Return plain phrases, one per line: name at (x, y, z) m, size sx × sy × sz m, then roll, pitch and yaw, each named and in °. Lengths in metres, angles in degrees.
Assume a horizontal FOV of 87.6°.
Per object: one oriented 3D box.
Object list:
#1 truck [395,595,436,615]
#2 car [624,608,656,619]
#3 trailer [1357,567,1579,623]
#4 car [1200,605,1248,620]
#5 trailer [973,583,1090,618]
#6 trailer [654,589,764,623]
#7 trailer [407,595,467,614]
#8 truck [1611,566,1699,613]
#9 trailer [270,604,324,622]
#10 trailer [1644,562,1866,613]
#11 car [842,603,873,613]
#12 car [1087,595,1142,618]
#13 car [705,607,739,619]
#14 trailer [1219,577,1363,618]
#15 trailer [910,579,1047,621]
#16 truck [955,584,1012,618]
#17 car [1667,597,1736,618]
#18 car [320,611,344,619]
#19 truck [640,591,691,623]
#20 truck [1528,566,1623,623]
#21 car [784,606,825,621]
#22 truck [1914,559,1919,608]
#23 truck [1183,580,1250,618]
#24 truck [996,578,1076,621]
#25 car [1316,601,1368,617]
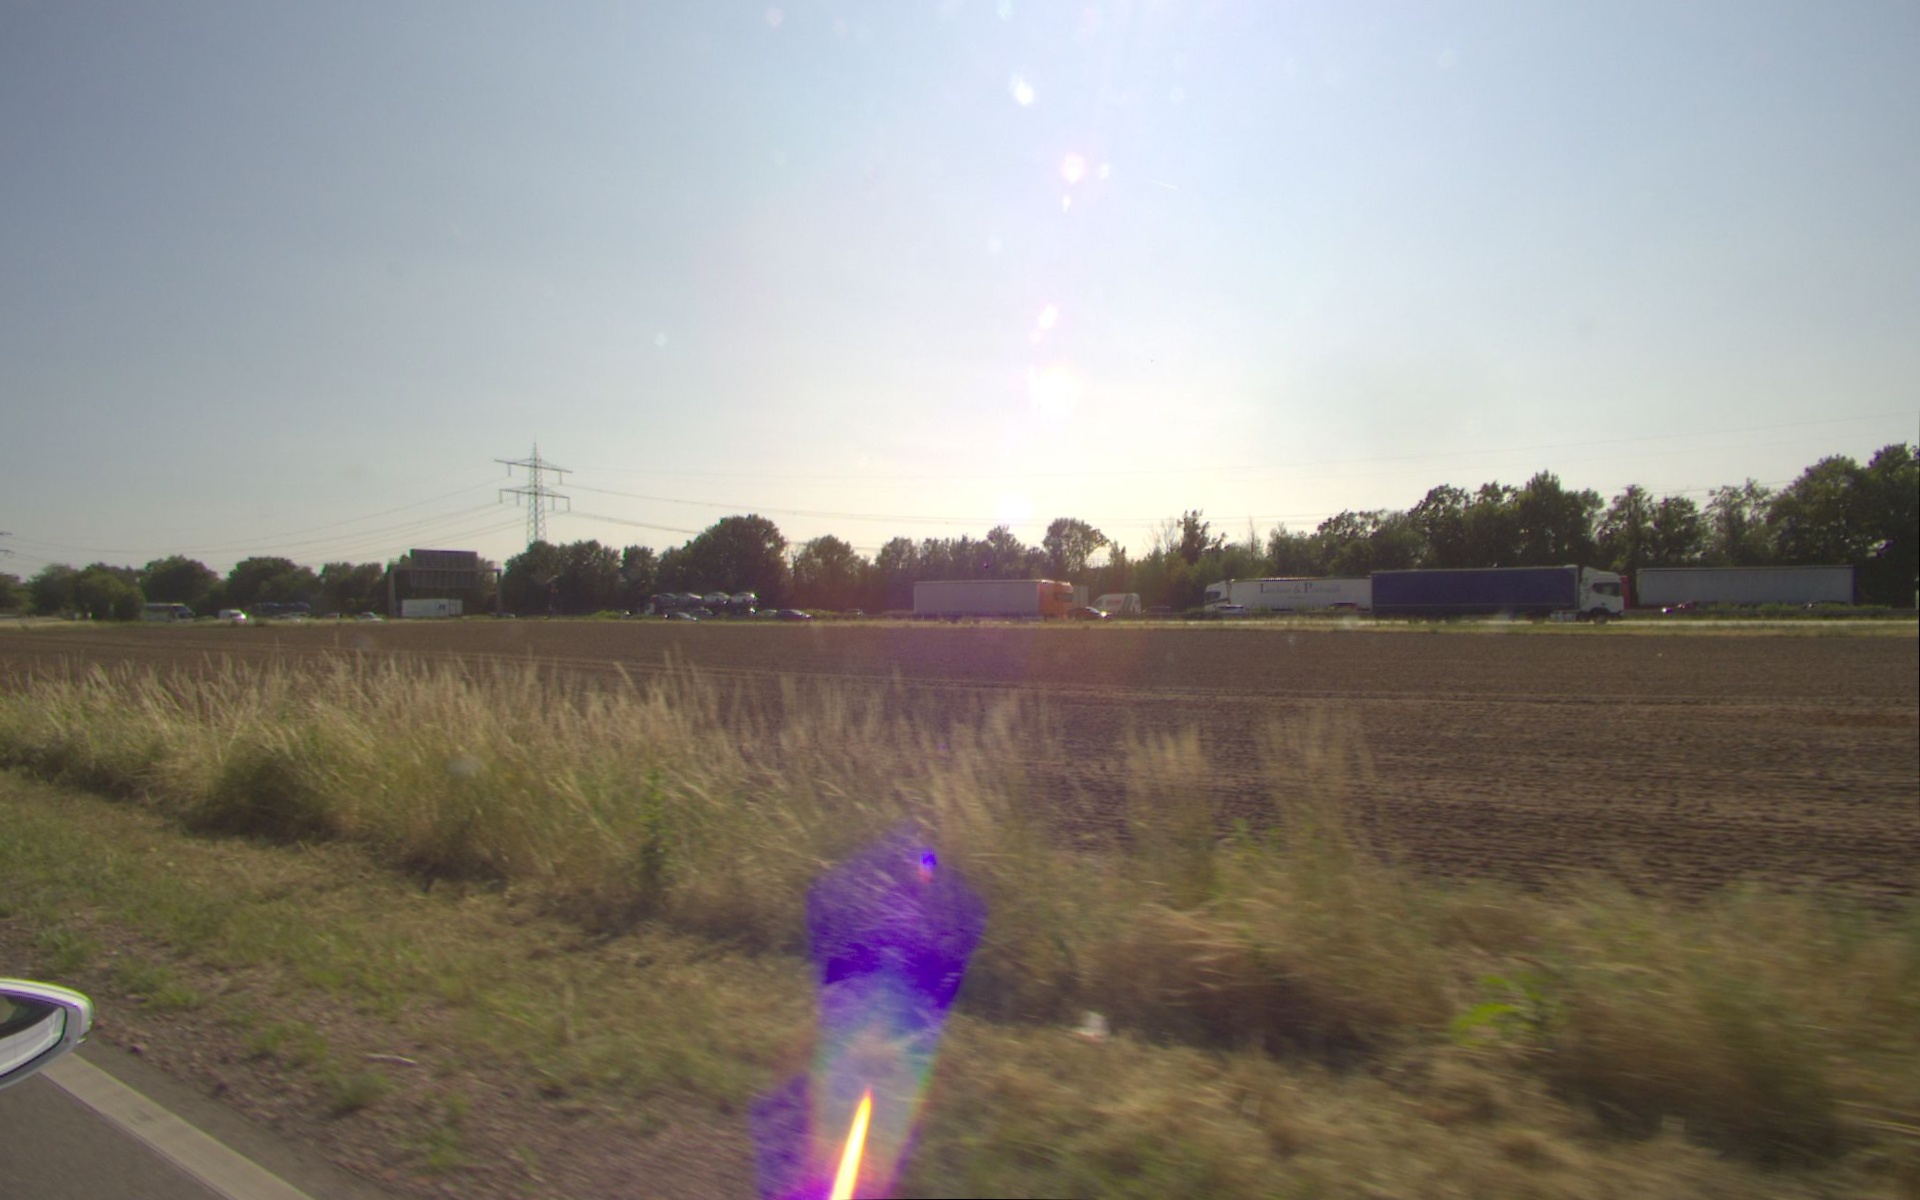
truck at (-96.328, 0.874, 177.109) m, size 6.875 × 3.311 × 3.279 m, roll -1°, pitch 0°, yaw 30°
car at (-44.117, 1.899, 138.013) m, size 4.185 × 1.403 × 1.848 m, roll 0°, pitch -1°, yaw 31°
trailer at (37.295, -0.307, 74.133) m, size 14.372 × 3.852 × 3.068 m, roll 0°, pitch 0°, yaw 30°
car at (25.451, 1.172, 96.554) m, size 4.185 × 1.403 × 1.848 m, roll 0°, pitch -1°, yaw 31°
trailer at (7.979, 0.068, 113.297) m, size 13.435 × 3.782 × 3.065 m, roll 0°, pitch 0°, yaw 33°
trailer at (-35.272, 0.886, 140.075) m, size 17.299 × 4.512 × 3.416 m, roll -1°, pitch 1°, yaw 30°
trailer at (-90.894, 0.799, 173.953) m, size 12.271 × 3.310 × 3.279 m, roll -1°, pitch 0°, yaw 30°
truck at (57.654, -0.840, 83.191) m, size 5.784 × 3.782 × 2.940 m, roll 0°, pitch 0°, yaw 31°
trailer at (-128.920, 2.513, 194.536) m, size 13.251 × 3.310 × 3.279 m, roll 0°, pitch 0°, yaw 30°
trailer at (62.925, -0.895, 79.930) m, size 13.581 × 3.782 × 2.940 m, roll 0°, pitch 0°, yaw 32°
car at (-12.179, 0.976, 118.780) m, size 3.530 × 1.166 × 1.392 m, roll 0°, pitch -1°, yaw 32°
car at (15.604, 0.642, 101.484) m, size 5.160 × 2.229 × 1.902 m, roll 0°, pitch -1°, yaw 31°
car at (-30.981, 1.690, 130.280) m, size 4.185 × 1.403 × 1.848 m, roll 0°, pitch -1°, yaw 31°
trailer at (32.310, -0.159, 98.280) m, size 13.175 × 3.782 × 3.065 m, roll 0°, pitch 0°, yaw 33°
trailer at (1.641, 0.072, 96.303) m, size 13.514 × 3.899 × 3.099 m, roll 0°, pitch 0°, yaw 30°
truck at (2.734, 0.129, 116.709) m, size 6.000 × 3.783 × 3.065 m, roll 0°, pitch 0°, yaw 33°
car at (56.514, 0.619, 76.380) m, size 4.034 × 1.528 × 1.700 m, roll -1°, pitch -2°, yaw 32°
car at (-112.642, 2.639, 179.603) m, size 4.185 × 1.403 × 1.848 m, roll 0°, pitch -1°, yaw 31°
truck at (-42.425, 0.987, 144.142) m, size 6.605 × 4.512 × 3.416 m, roll -1°, pitch 1°, yaw 29°
truck at (43.292, -0.357, 70.620) m, size 5.527 × 3.852 × 3.068 m, roll 0°, pitch 0°, yaw 30°
car at (-17.517, 1.565, 112.578) m, size 4.411 × 1.633 × 1.902 m, roll -1°, pitch -2°, yaw 33°
truck at (73.856, -1.245, 72.726) m, size 6.019 × 3.579 × 3.196 m, roll 0°, pitch 1°, yaw 31°
truck at (26.204, -0.089, 102.198) m, size 6.030 × 3.782 × 3.066 m, roll 0°, pitch 0°, yaw 32°
truck at (7.064, 0.027, 93.088) m, size 6.847 × 3.899 × 3.099 m, roll 0°, pitch 0°, yaw 30°
car at (34.699, 0.785, 90.937) m, size 4.185 × 1.403 × 1.848 m, roll 0°, pitch -1°, yaw 31°
